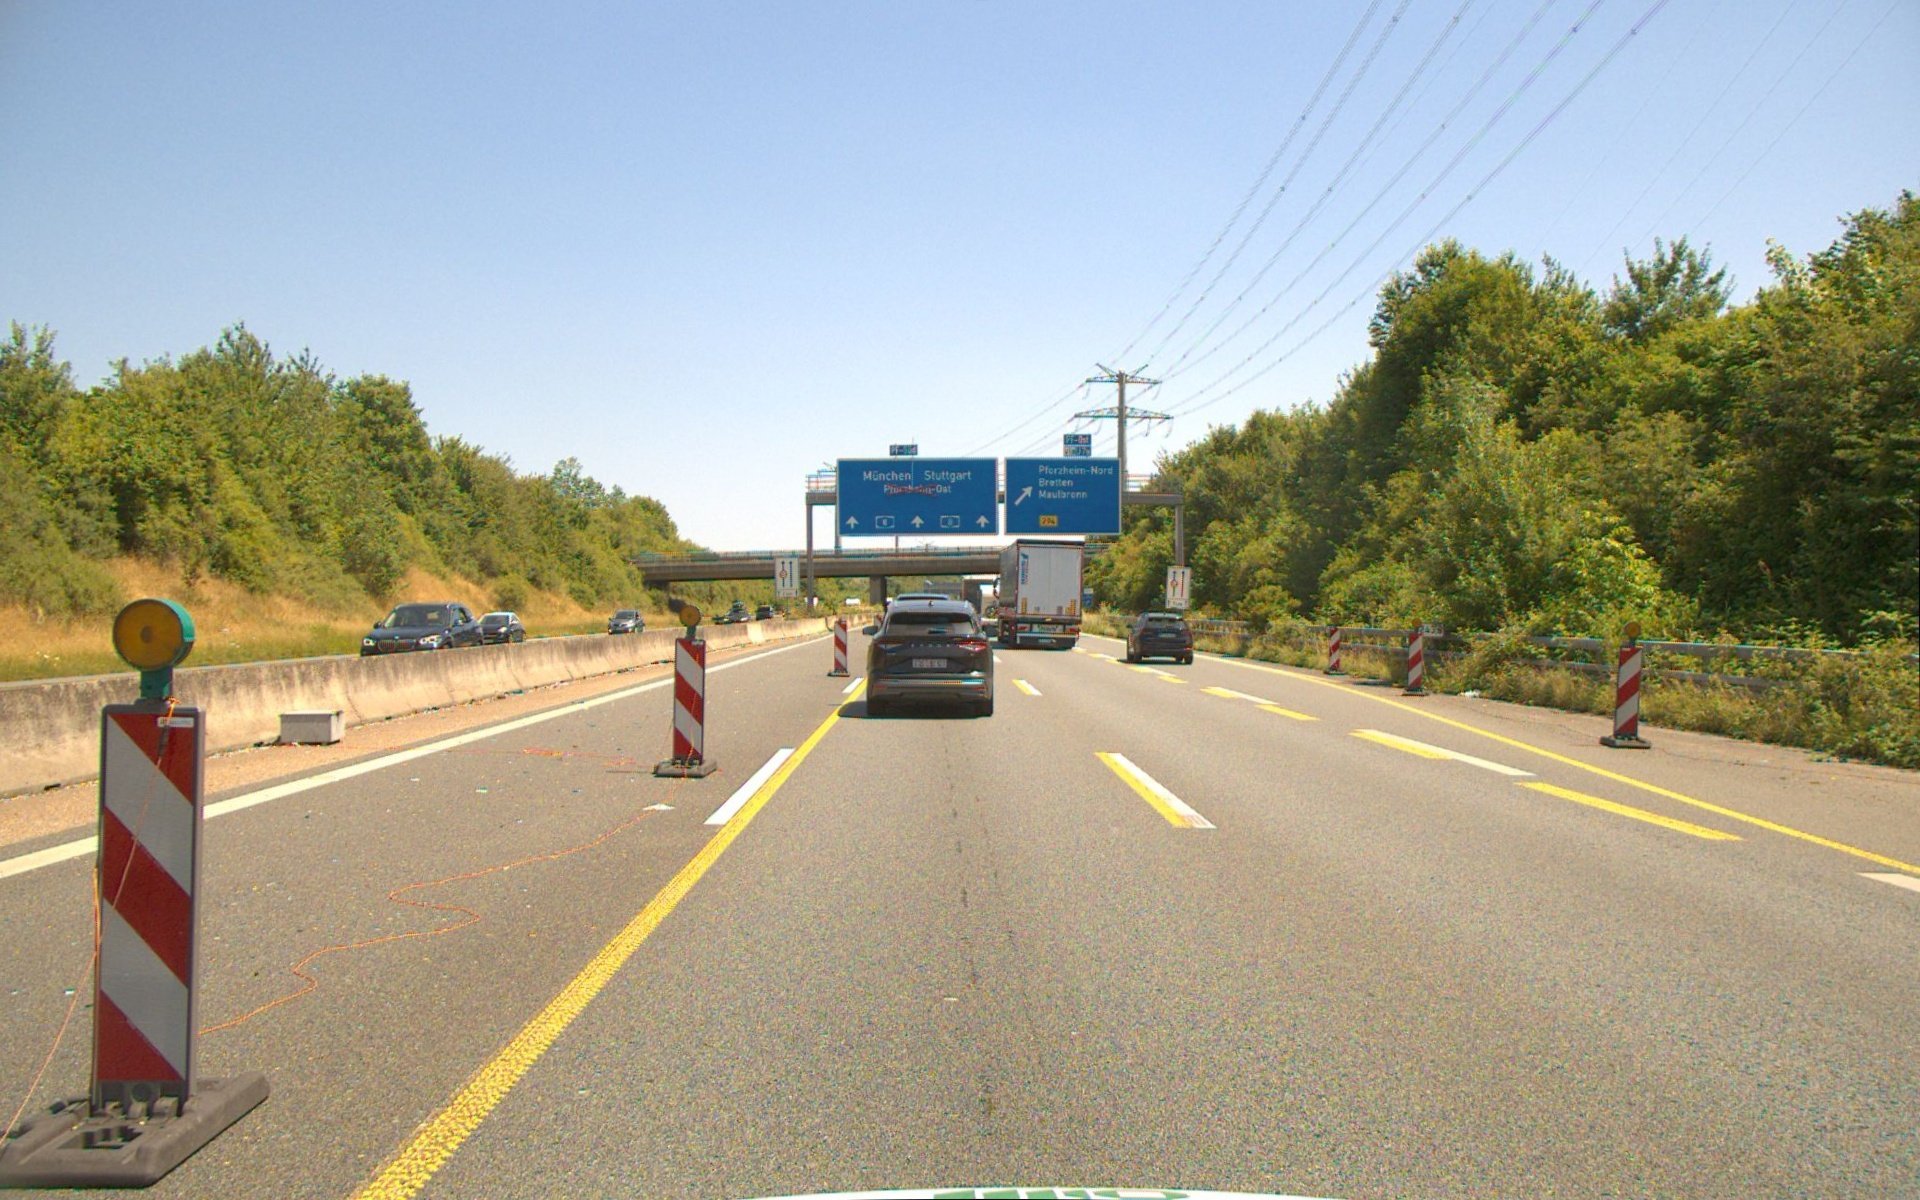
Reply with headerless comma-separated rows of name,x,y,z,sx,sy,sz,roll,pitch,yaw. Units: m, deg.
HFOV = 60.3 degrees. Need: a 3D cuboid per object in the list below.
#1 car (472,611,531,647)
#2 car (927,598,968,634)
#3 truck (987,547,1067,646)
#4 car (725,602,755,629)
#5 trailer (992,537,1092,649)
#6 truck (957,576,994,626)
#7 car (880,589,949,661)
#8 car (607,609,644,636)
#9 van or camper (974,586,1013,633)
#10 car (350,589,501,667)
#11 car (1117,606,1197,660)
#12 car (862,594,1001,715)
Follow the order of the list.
car,-19.905,1.245,71.923,1.542,1.490,3.778,-1,0,-1
car,-0.638,0.759,81.552,1.857,1.535,4.442,3,1,-2
truck,2.905,-0.149,74.049,2.964,4.159,7.792,1,0,-2
car,-15.795,1.090,118.790,1.707,1.850,4.619,0,0,-3
trailer,3.147,-0.254,67.026,3.003,4.113,11.482,1,0,-2
truck,1.362,0.120,147.752,3.015,4.219,13.053,1,0,0
car,-1.336,0.679,48.444,1.857,1.873,4.441,2,1,-2
car,-20.403,1.368,100.937,1.469,1.575,3.999,-1,0,0
van or camper,2.227,0.616,111.651,2.533,3.020,6.084,-1,0,0
car,-11.931,0.600,37.256,1.953,1.628,4.581,-1,0,-1
car,5.870,0.964,49.760,1.743,1.515,4.463,1,0,-1
car,-0.455,0.724,24.551,1.857,1.620,4.441,0,0,-2
